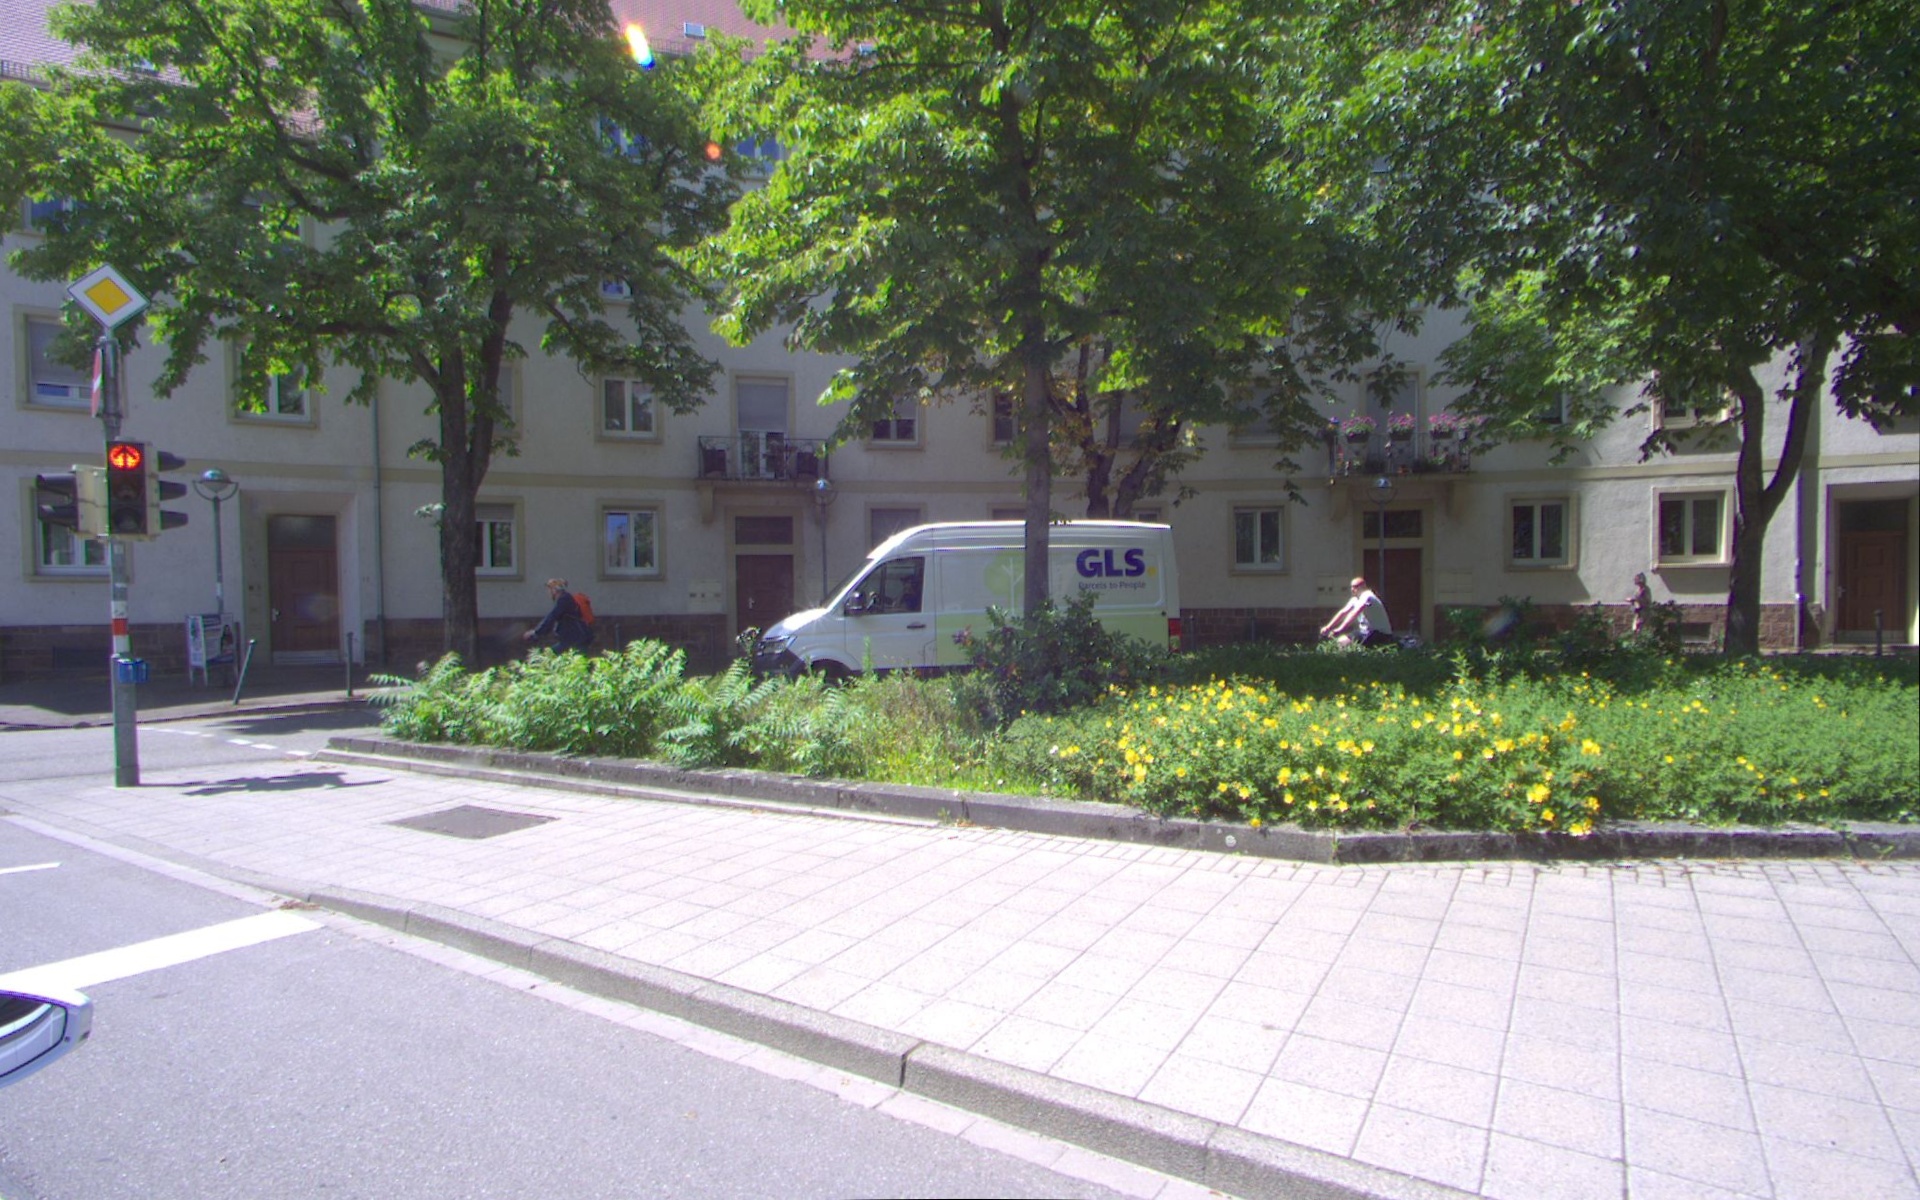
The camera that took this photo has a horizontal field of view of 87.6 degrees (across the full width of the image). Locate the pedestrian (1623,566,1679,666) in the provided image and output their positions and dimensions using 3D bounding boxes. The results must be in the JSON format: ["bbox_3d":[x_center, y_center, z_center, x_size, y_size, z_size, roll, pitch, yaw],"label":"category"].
[{"bbox_3d":[14.365,0.331,20.847,0.759,2.040,0.806,0,0,19],"label":"pedestrian"}]

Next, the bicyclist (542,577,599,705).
[{"bbox_3d":[-5.235,0.537,13.439,0.684,1.667,0.578,0,0,-24],"label":"bicyclist"}]

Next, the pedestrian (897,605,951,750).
[{"bbox_3d":[-0.330,0.702,9.230,0.345,1.301,0.365,0,0,32],"label":"pedestrian"}]

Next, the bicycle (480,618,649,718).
[{"bbox_3d":[-5.276,0.880,13.427,2.054,1.253,0.578,0,0,-25],"label":"bicycle"}]

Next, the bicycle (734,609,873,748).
[{"bbox_3d":[-1.372,0.674,8.701,1.269,1.141,0.332,-2,-1,32],"label":"bicycle"}]

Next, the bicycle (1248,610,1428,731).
[{"bbox_3d":[4.889,0.898,12.988,2.126,1.505,0.593,0,0,-5],"label":"bicycle"}]

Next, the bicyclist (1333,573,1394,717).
[{"bbox_3d":[5.231,0.571,13.000,0.524,1.823,0.604,0,0,-3],"label":"bicyclist"}]

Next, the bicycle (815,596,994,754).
[{"bbox_3d":[-0.550,0.670,9.364,1.809,1.377,0.351,-1,0,33],"label":"bicycle"}]

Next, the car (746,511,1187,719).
[{"bbox_3d":[0.053,0.172,13.954,5.738,2.624,1.999,0,1,-7],"label":"car"}]
